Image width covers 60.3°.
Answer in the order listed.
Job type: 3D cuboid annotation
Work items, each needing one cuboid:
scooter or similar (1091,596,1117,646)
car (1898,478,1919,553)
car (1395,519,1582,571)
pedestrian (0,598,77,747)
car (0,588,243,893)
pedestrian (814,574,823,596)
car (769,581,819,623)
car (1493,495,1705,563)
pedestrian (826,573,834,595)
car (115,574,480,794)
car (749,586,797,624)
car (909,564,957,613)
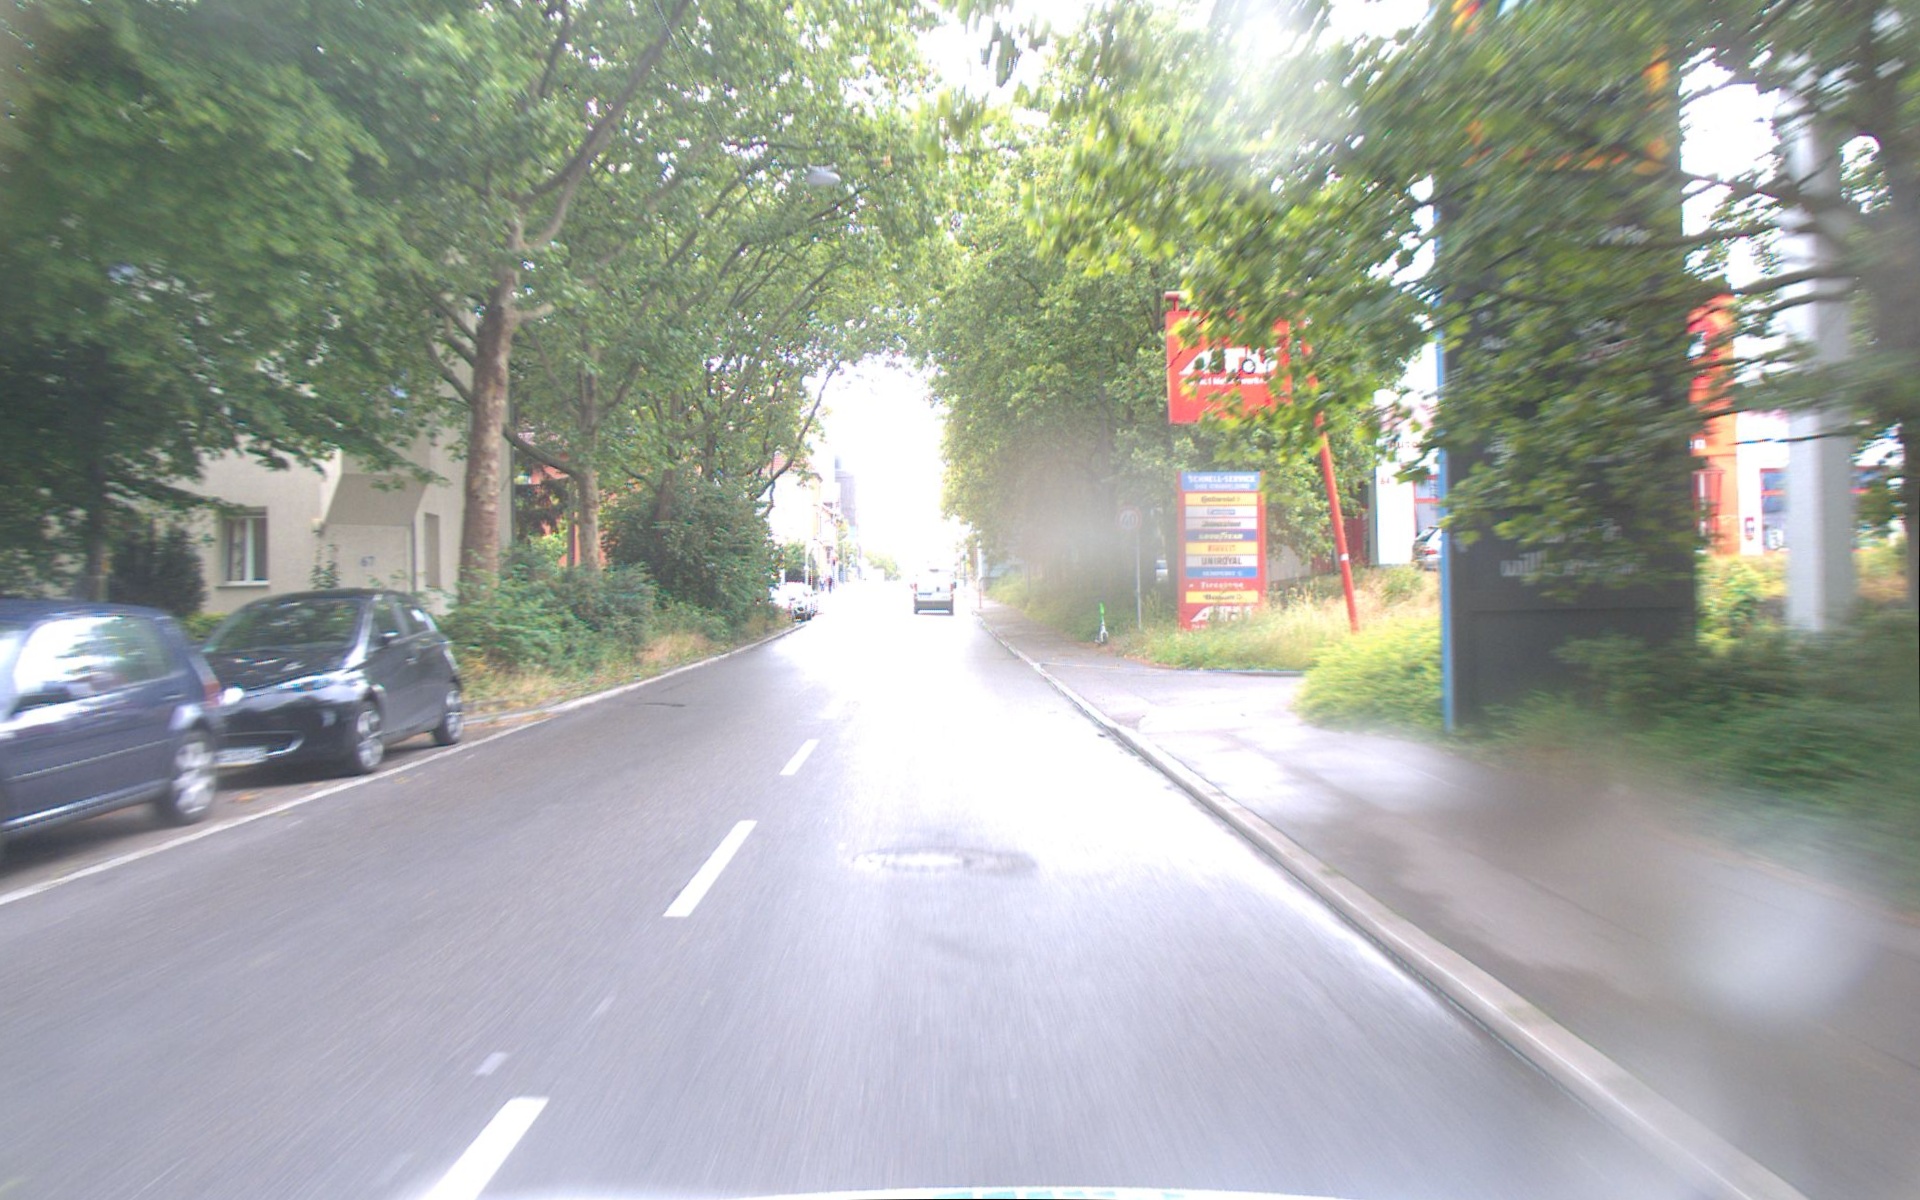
[{"bbox_3d":[3.482,0.519,40.132,0.417,1.162,1.528,1,-2,-3],"label":"scooter or similar"},{"bbox_3d":[25.829,-2.118,40.540,4.675,1.814,1.913,-1,0,-5],"label":"car"},{"bbox_3d":[14.340,-1.488,45.037,4.516,1.357,1.800,0,0,-1],"label":"car"},{"bbox_3d":[-10.687,0.818,18.884,0.575,1.648,1.021,1,-2,0],"label":"pedestrian"},{"bbox_3d":[-5.683,0.762,9.200,1.638,1.534,3.873,-4,0,-1],"label":"car"},{"bbox_3d":[-13.458,-1.429,157.451,0.657,2.049,0.942,0,0,3],"label":"pedestrian"},{"bbox_3d":[-6.933,0.056,69.276,1.657,1.568,4.117,-3,1,-1],"label":"car"},{"bbox_3d":[14.274,-1.573,37.094,4.017,1.400,1.902,0,0,-1],"label":"car"},{"bbox_3d":[-12.396,-1.526,157.740,0.657,2.049,0.942,0,0,3],"label":"pedestrian"},{"bbox_3d":[-5.677,0.639,14.738,1.615,1.564,4.017,-4,0,-2],"label":"car"},{"bbox_3d":[-7.189,0.178,63.867,1.606,1.397,3.757,0,1,-3],"label":"car"},{"bbox_3d":[-1.343,-0.540,82.725,2.288,2.270,3.999,-2,-1,0],"label":"car"}]
